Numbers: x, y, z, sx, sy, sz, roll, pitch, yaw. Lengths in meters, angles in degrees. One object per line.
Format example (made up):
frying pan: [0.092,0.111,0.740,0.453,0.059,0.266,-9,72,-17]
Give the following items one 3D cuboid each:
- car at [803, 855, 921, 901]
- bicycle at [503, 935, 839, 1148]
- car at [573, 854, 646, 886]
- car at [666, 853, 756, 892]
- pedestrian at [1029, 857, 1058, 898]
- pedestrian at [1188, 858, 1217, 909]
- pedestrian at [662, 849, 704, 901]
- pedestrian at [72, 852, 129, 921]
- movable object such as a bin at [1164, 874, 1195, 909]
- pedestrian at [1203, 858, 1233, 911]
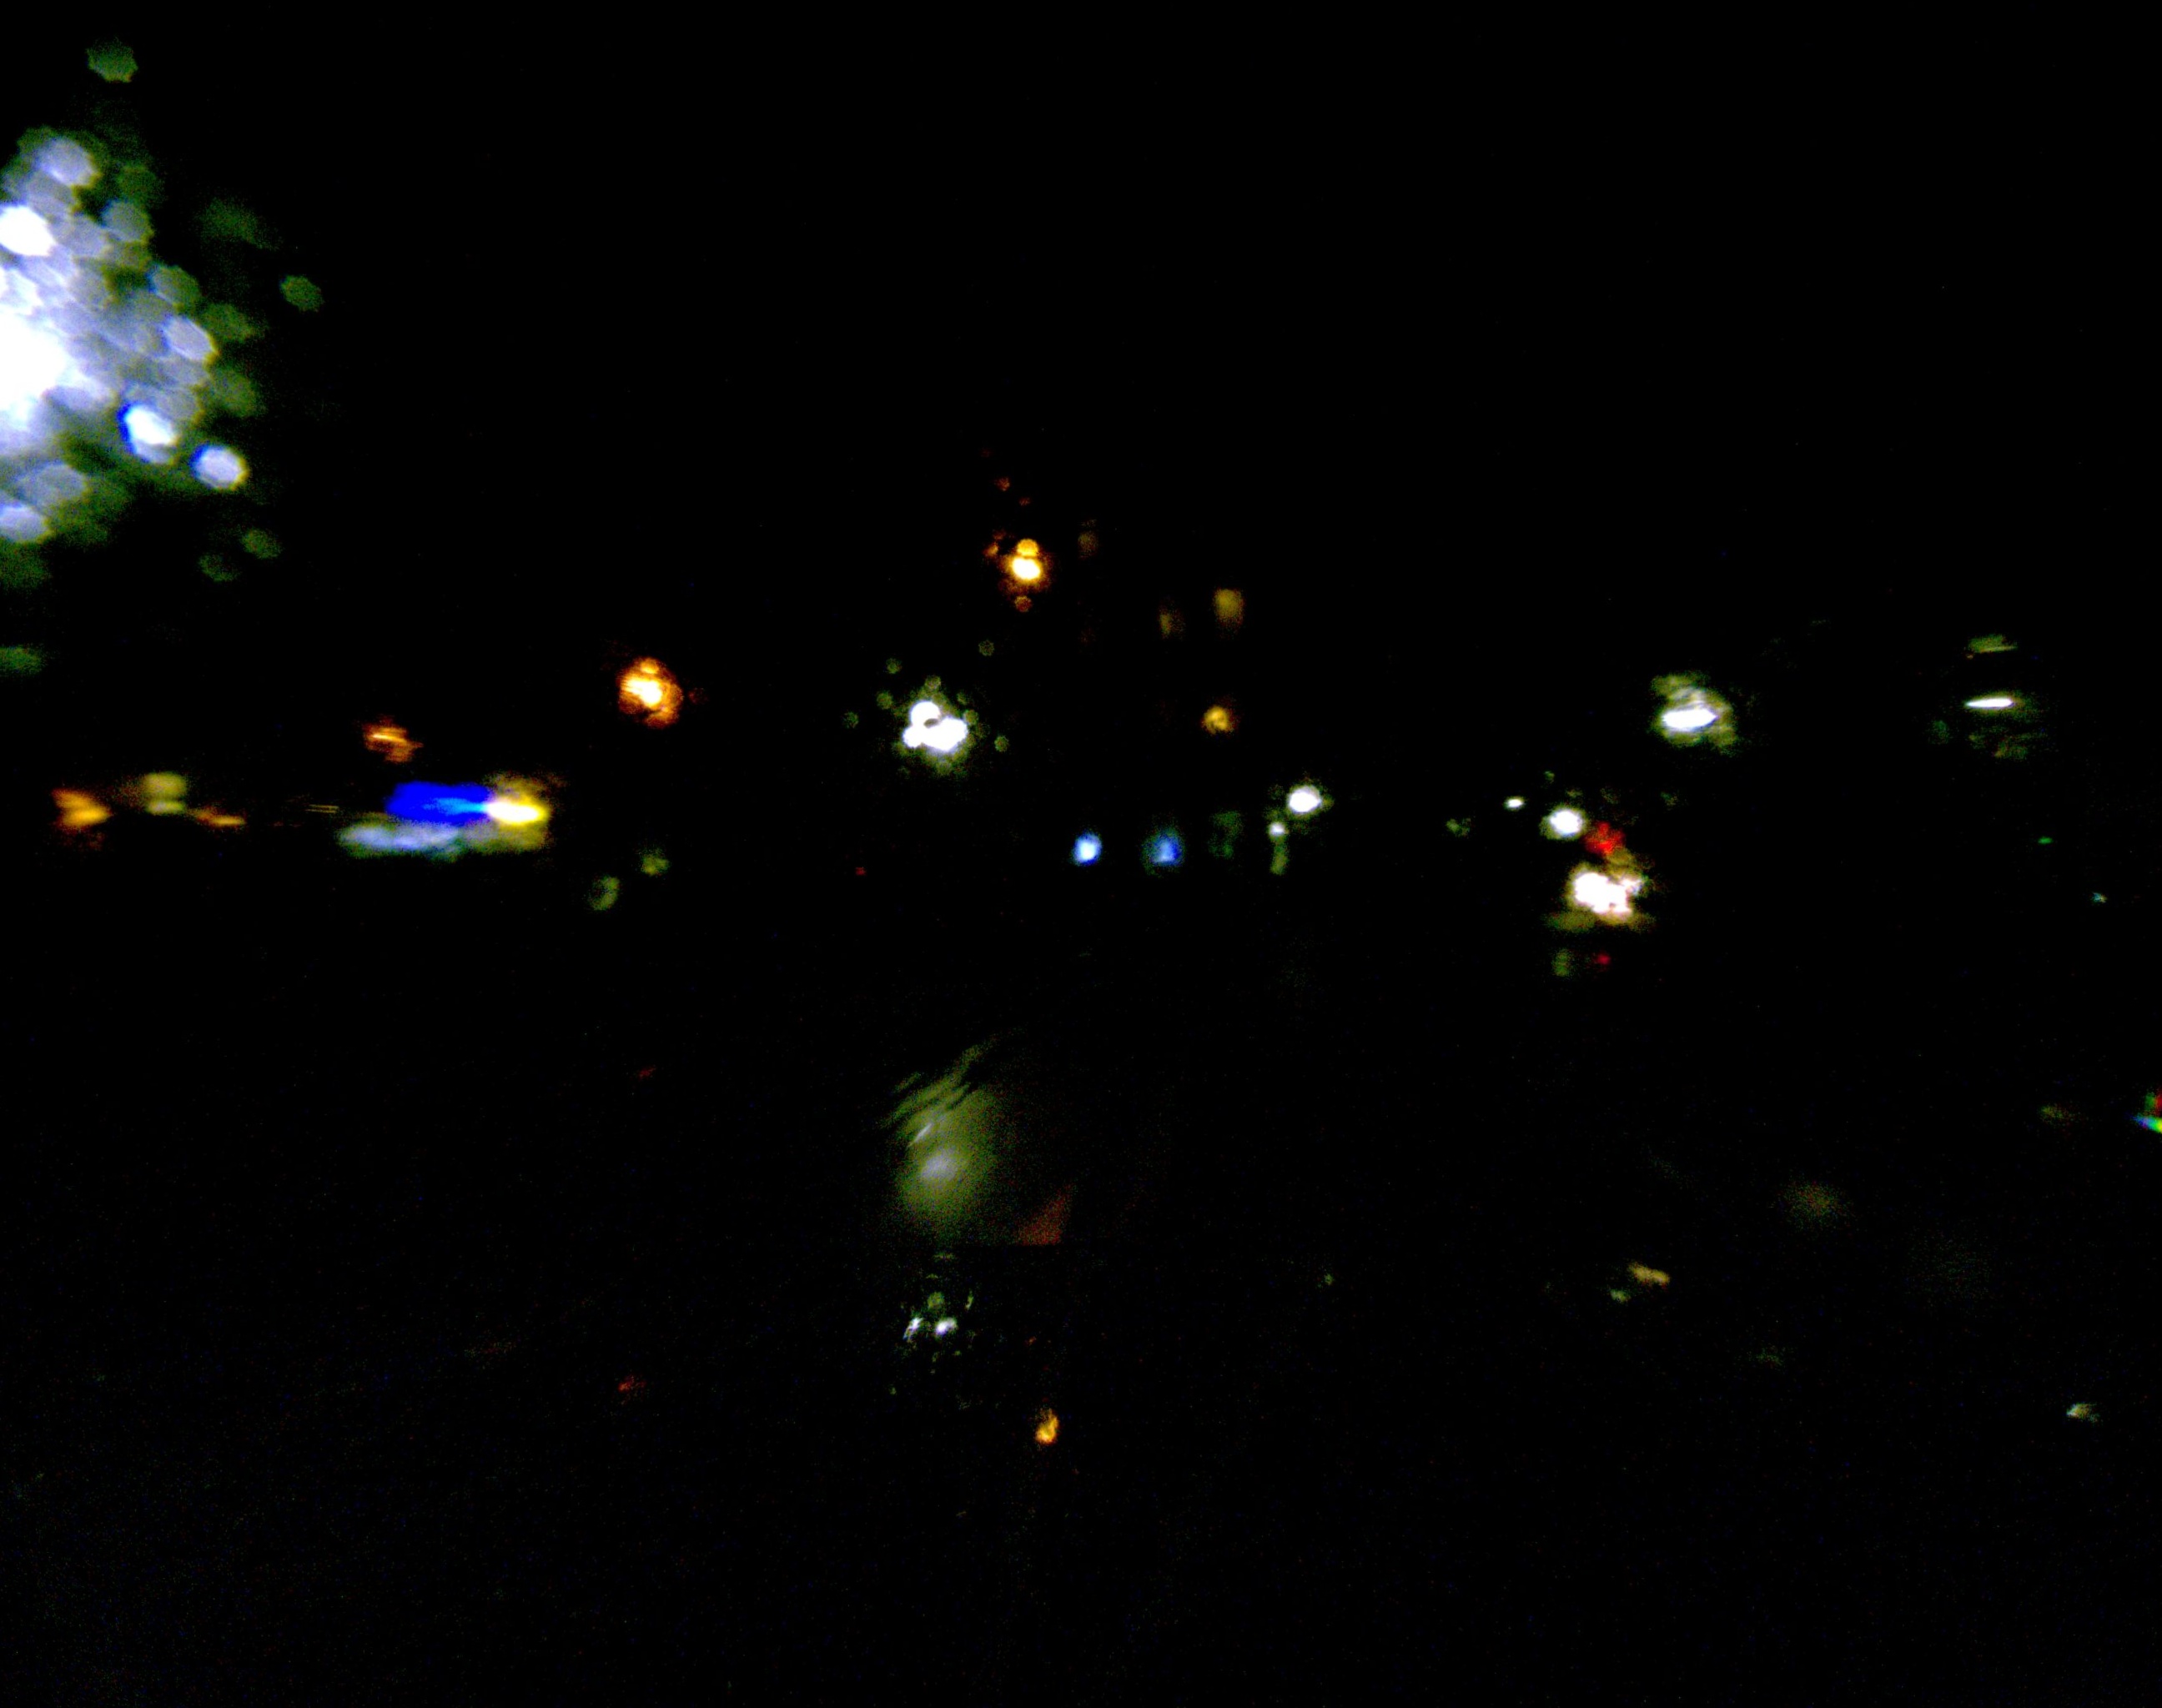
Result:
car: [-8.531,0.874,29.478,4.483,1.584,1.893,0,2,33]
bicycle: [-2.331,1.059,4.477,1.624,1.076,0.564,0,3,-5]
car: [-25.427,0.832,40.954,4.194,1.586,1.769,0,2,35]
car: [-17.197,0.802,35.281,4.274,1.694,1.885,0,2,35]
pedestrian: [-1.398,0.883,28.298,0.766,1.485,0.635,-1,1,35]
pedestrian: [4.027,0.971,25.096,0.841,1.628,0.635,-2,1,13]
pedestrian: [-13.603,0.714,25.969,0.688,1.753,1.045,-2,-1,24]
pedestrian: [-23.742,0.769,18.411,0.576,1.607,0.754,-1,1,42]
movable object such as a bin: [3.291,1.238,25.270,0.921,1.109,0.635,-2,1,13]
pedestrian: [4.381,0.962,24.301,0.873,1.628,0.635,-2,1,13]
